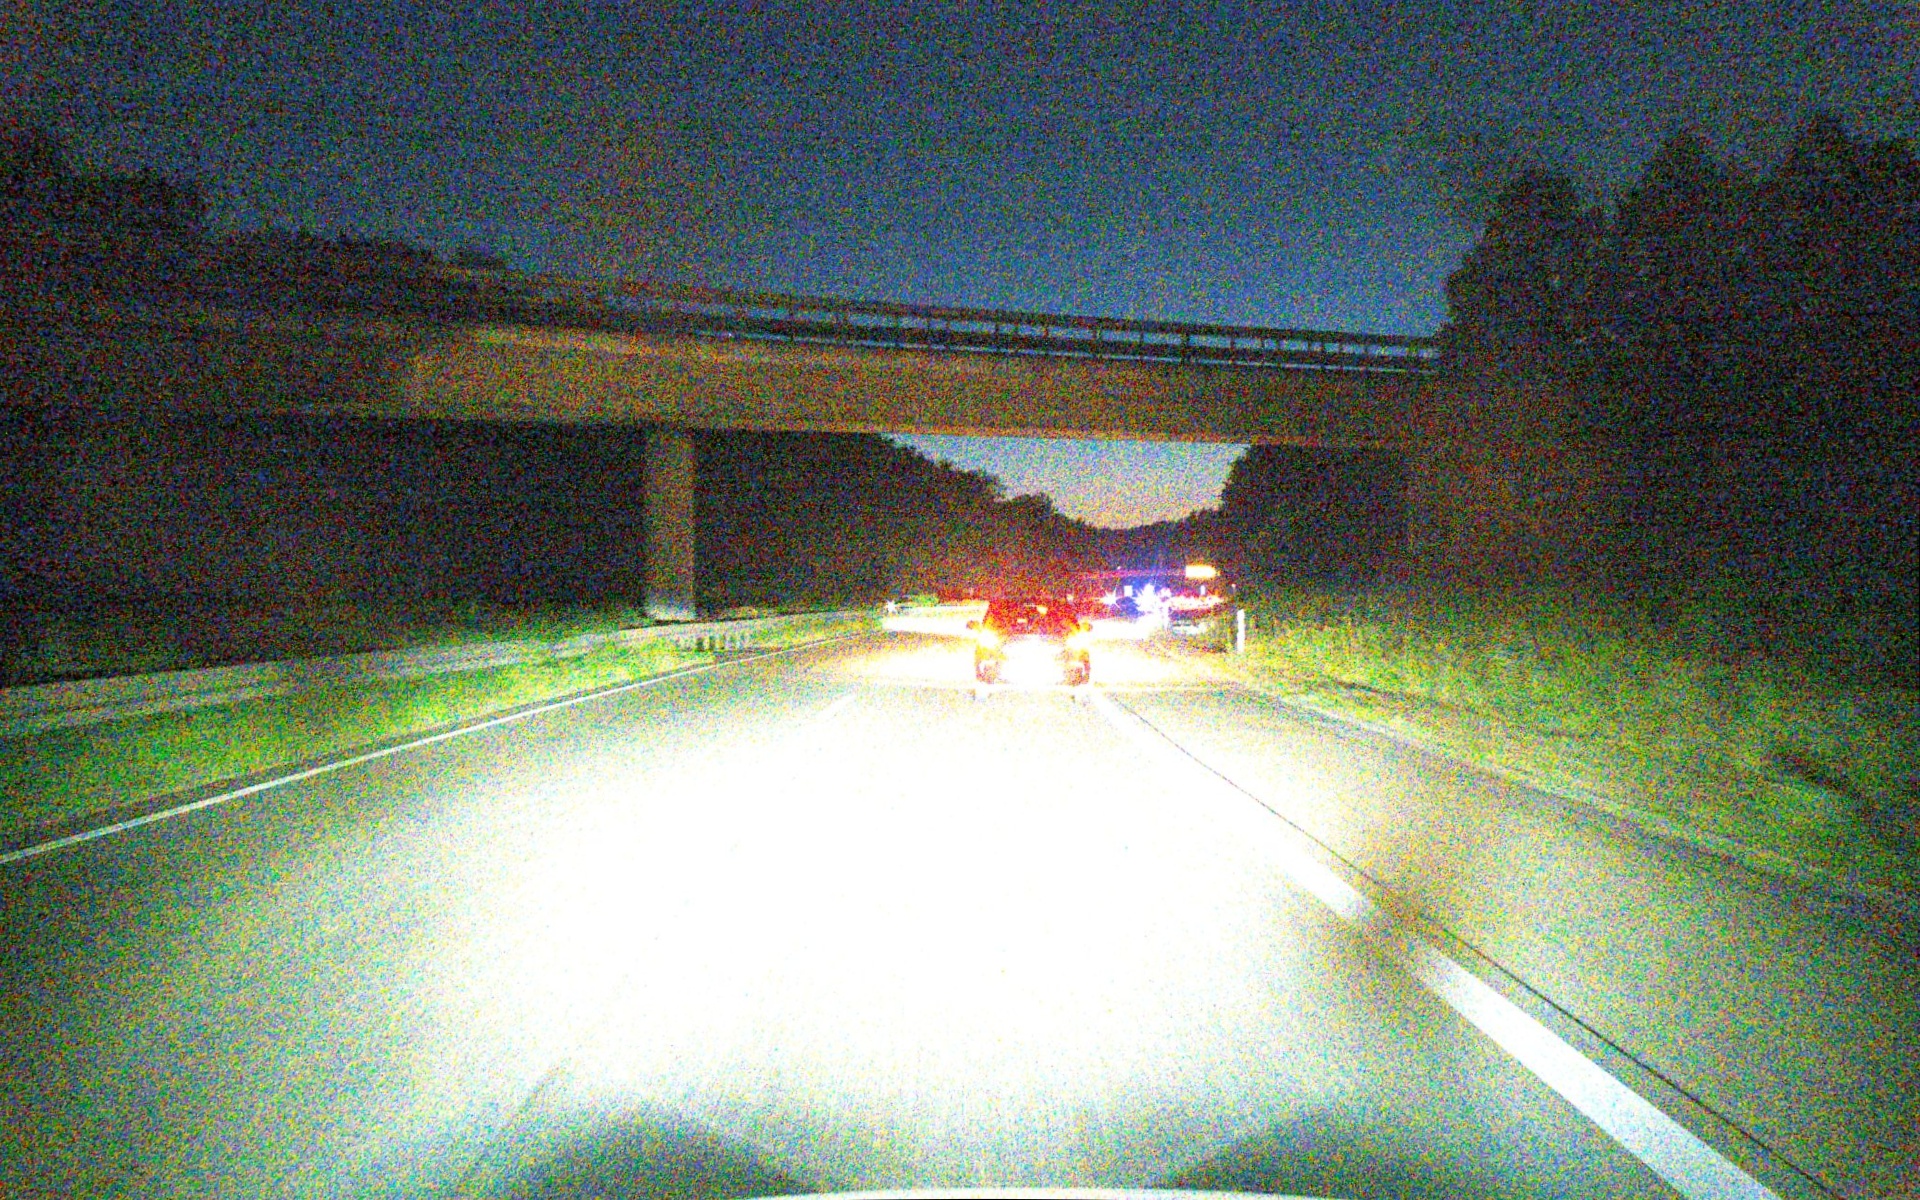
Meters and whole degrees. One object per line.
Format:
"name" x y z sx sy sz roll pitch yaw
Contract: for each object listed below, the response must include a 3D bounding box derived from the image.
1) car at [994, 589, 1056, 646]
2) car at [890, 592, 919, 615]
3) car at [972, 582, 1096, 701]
"car" 2.039 0.512 52.662 1.867 1.728 4.000 0 0 1
"car" -4.304 0.276 128.653 1.952 1.686 4.535 0 0 2
"car" 0.994 0.539 23.897 1.556 1.534 4.000 2 0 -1
